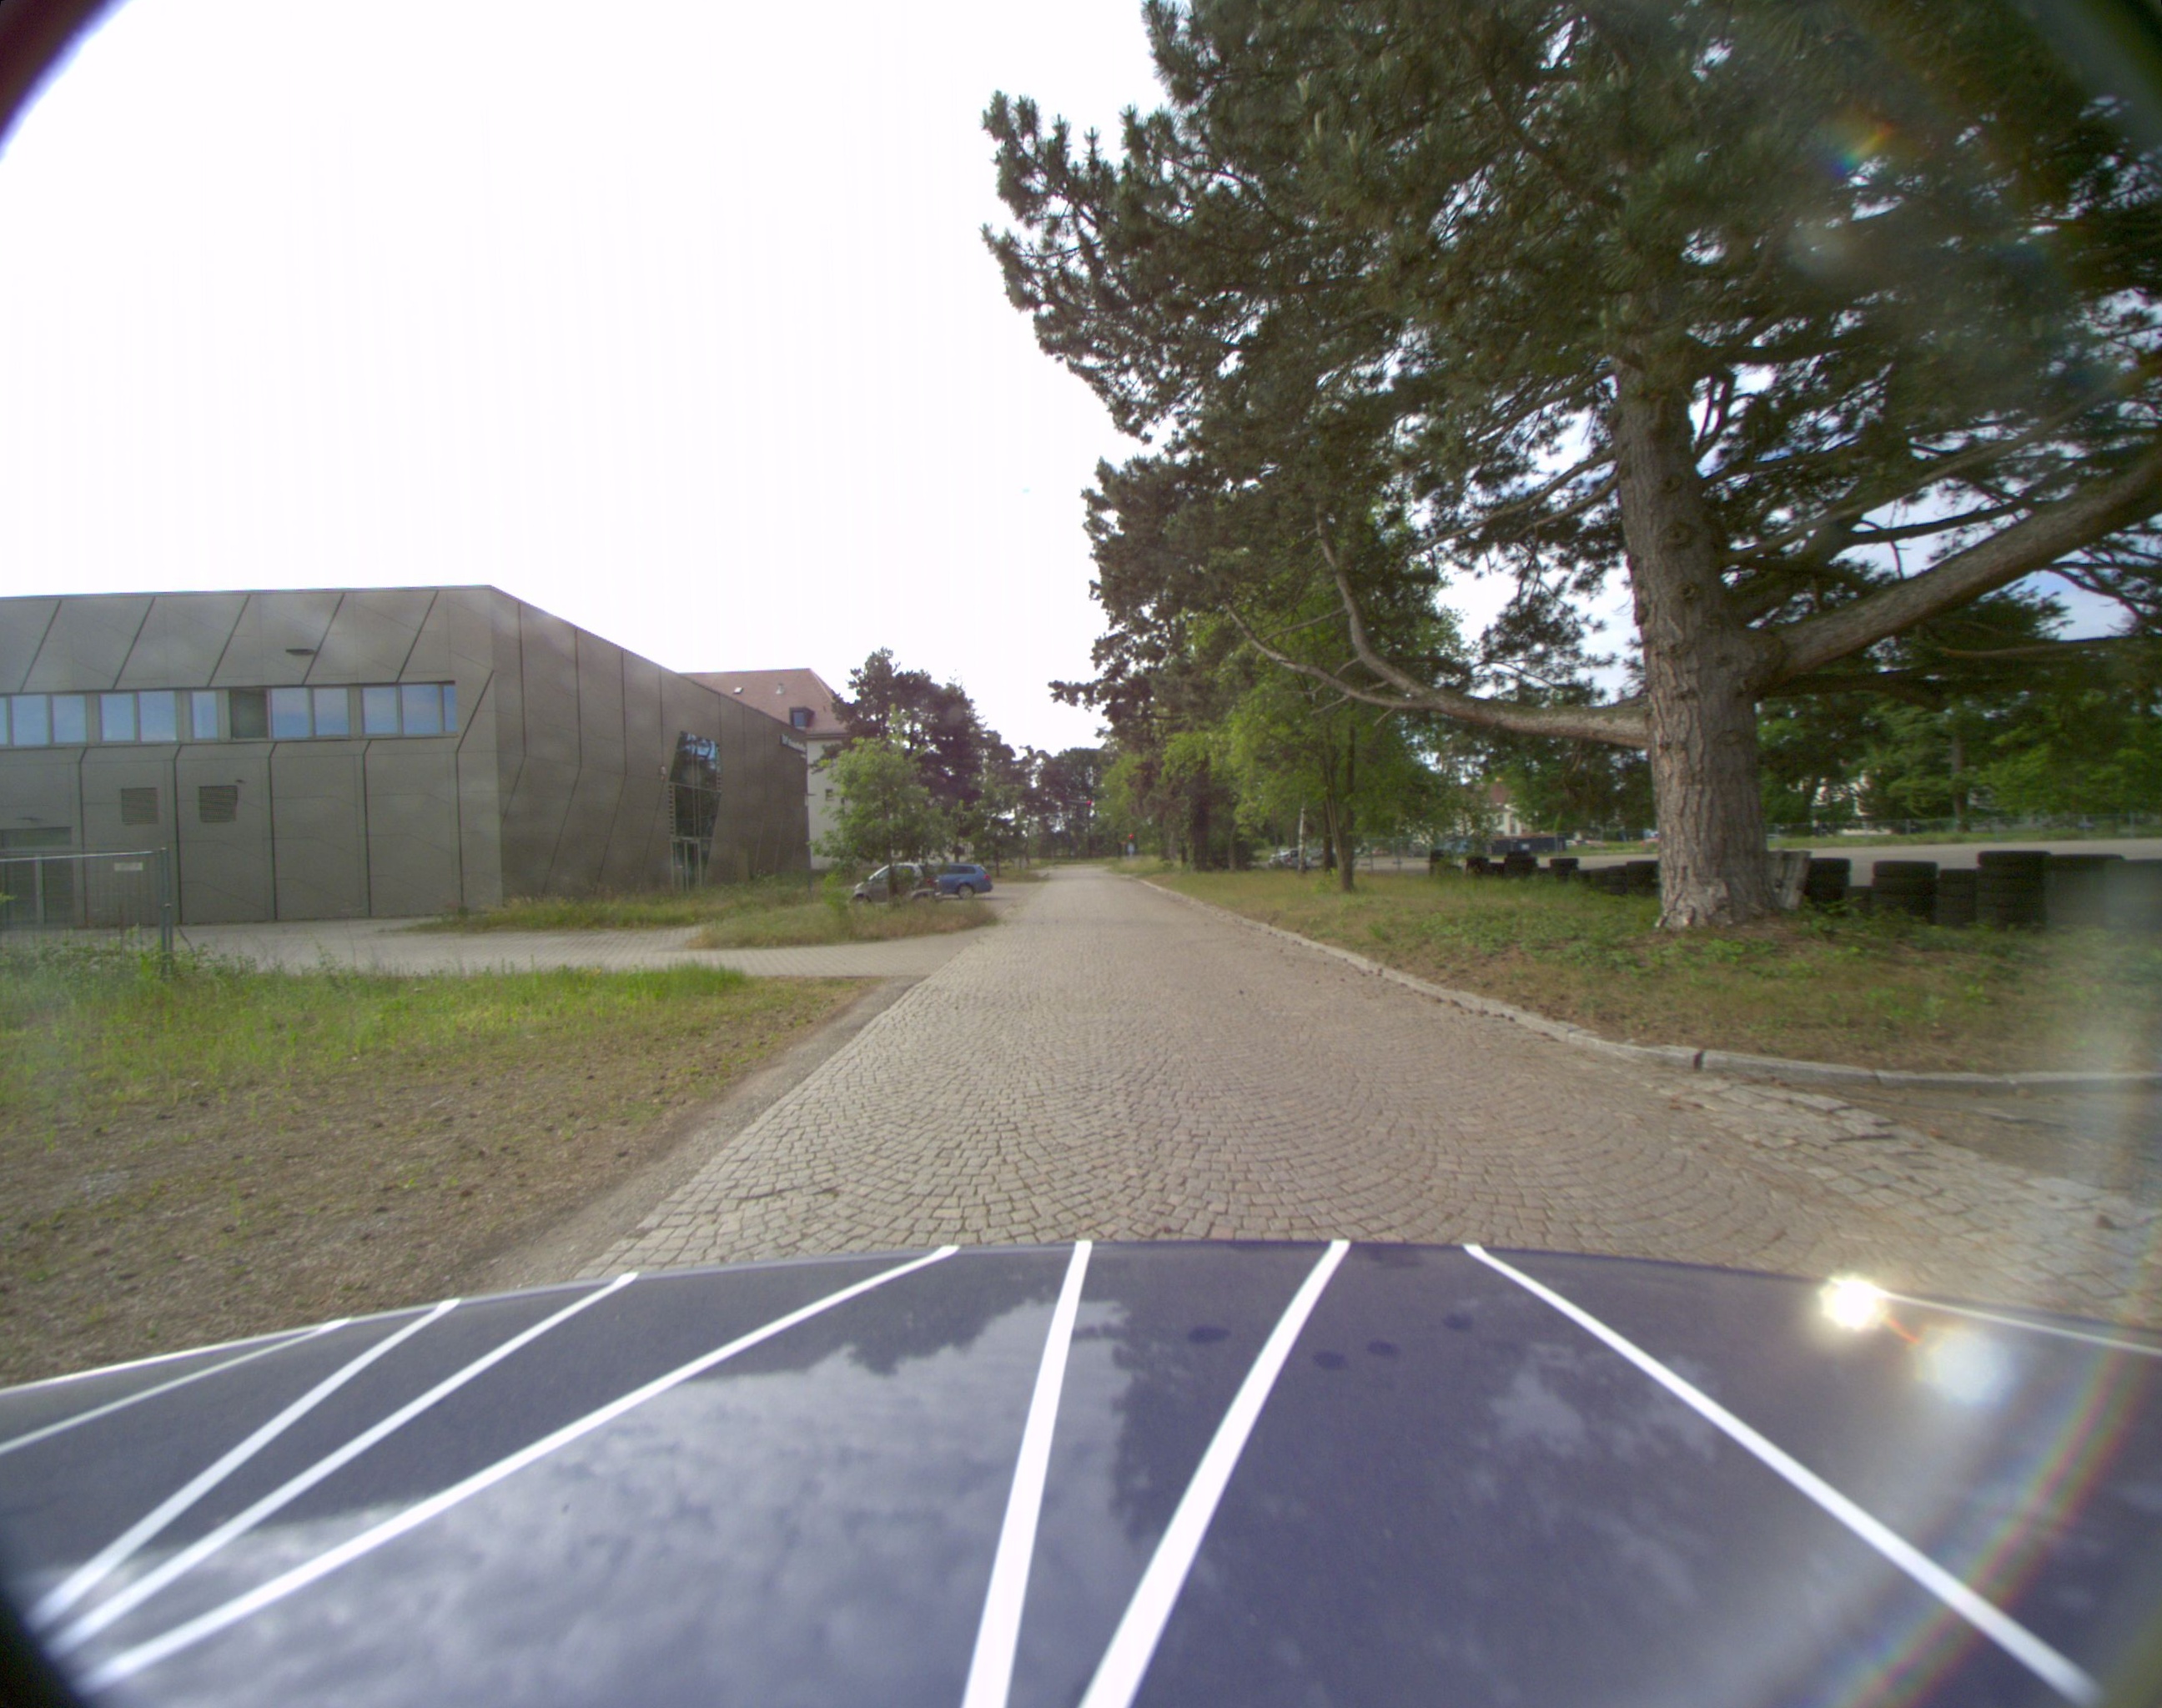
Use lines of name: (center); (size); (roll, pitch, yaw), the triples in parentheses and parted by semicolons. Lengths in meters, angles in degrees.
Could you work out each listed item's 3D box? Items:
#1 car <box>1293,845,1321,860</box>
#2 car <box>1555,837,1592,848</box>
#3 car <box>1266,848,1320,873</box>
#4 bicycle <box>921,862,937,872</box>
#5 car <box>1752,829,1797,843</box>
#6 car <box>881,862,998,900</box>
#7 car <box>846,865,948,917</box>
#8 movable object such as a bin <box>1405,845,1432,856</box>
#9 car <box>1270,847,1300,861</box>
car: (24.836, -0.148, 83.538); (1.674, 1.510, 3.899); (-2, -2, -4)
car: (61.810, -1.423, 95.446); (1.711, 1.343, 4.402); (-2, 0, -1)
car: (12.682, 0.378, 45.809); (1.829, 1.408, 4.420); (0, 0, -3)
bicycle: (-17.818, 1.502, 89.135); (1.655, 1.079, 0.615); (-2, 1, 1)
car: (87.188, -2.232, 95.614); (1.828, 1.712, 4.584); (-2, 0, 7)
car: (-5.746, 1.095, 31.198); (4.503, 1.466, 1.830); (0, 0, -3)
car: (-5.705, 1.131, 23.774); (2.716, 1.547, 1.653); (-1, 0, 1)
movable object such as a bin: (31.691, -0.309, 71.437); (1.448, 0.963, 1.957); (-2, 0, -8)
car: (22.335, 0.044, 83.449); (1.830, 1.417, 4.319); (-2, 0, -4)
